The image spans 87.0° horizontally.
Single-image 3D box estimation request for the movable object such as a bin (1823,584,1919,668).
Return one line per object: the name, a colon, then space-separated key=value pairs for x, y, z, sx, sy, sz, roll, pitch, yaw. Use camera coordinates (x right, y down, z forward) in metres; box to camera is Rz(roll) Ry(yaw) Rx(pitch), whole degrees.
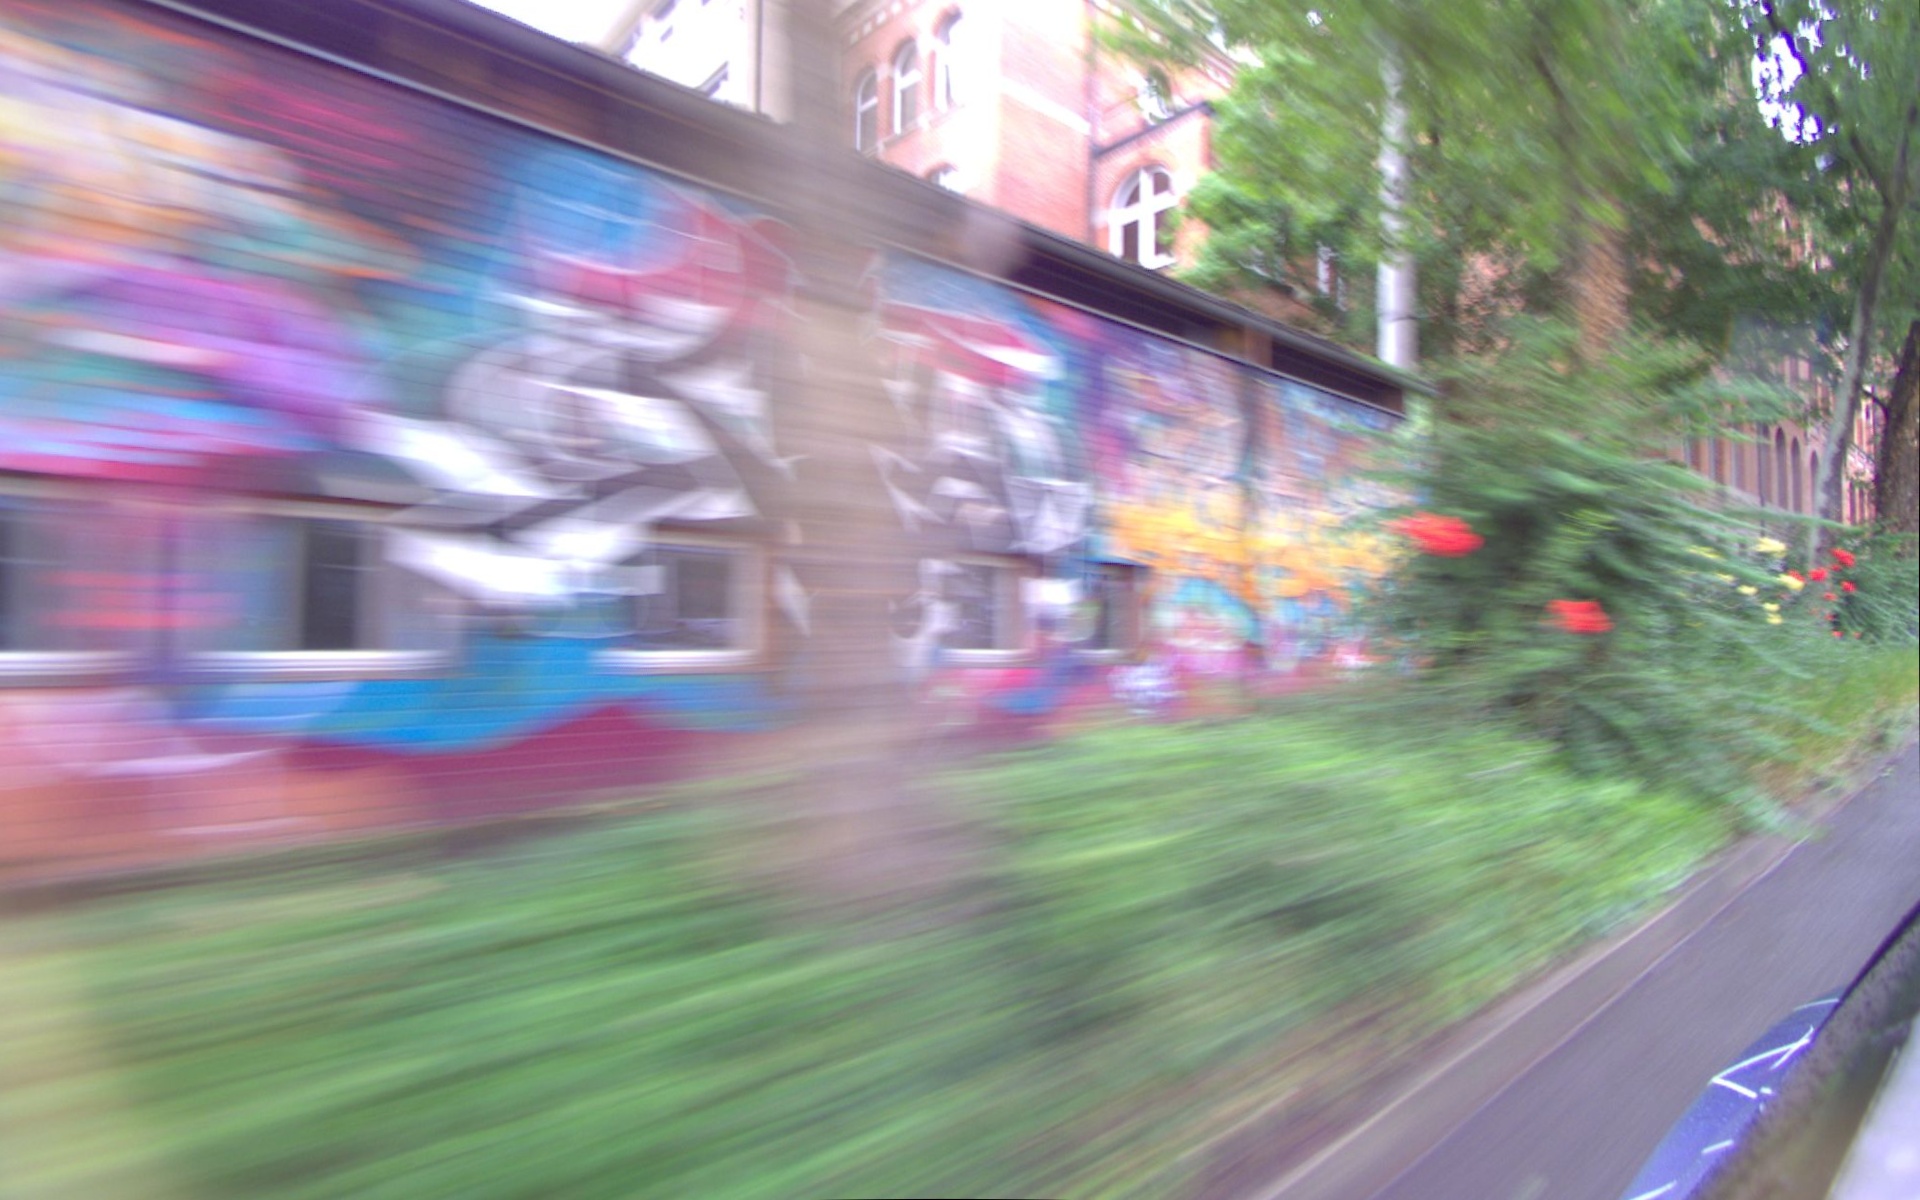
movable object such as a bin: x=17.077 y=0.448 z=18.649 sx=1.191 sy=1.471 sz=1.408 roll=1 pitch=0 yaw=-25
